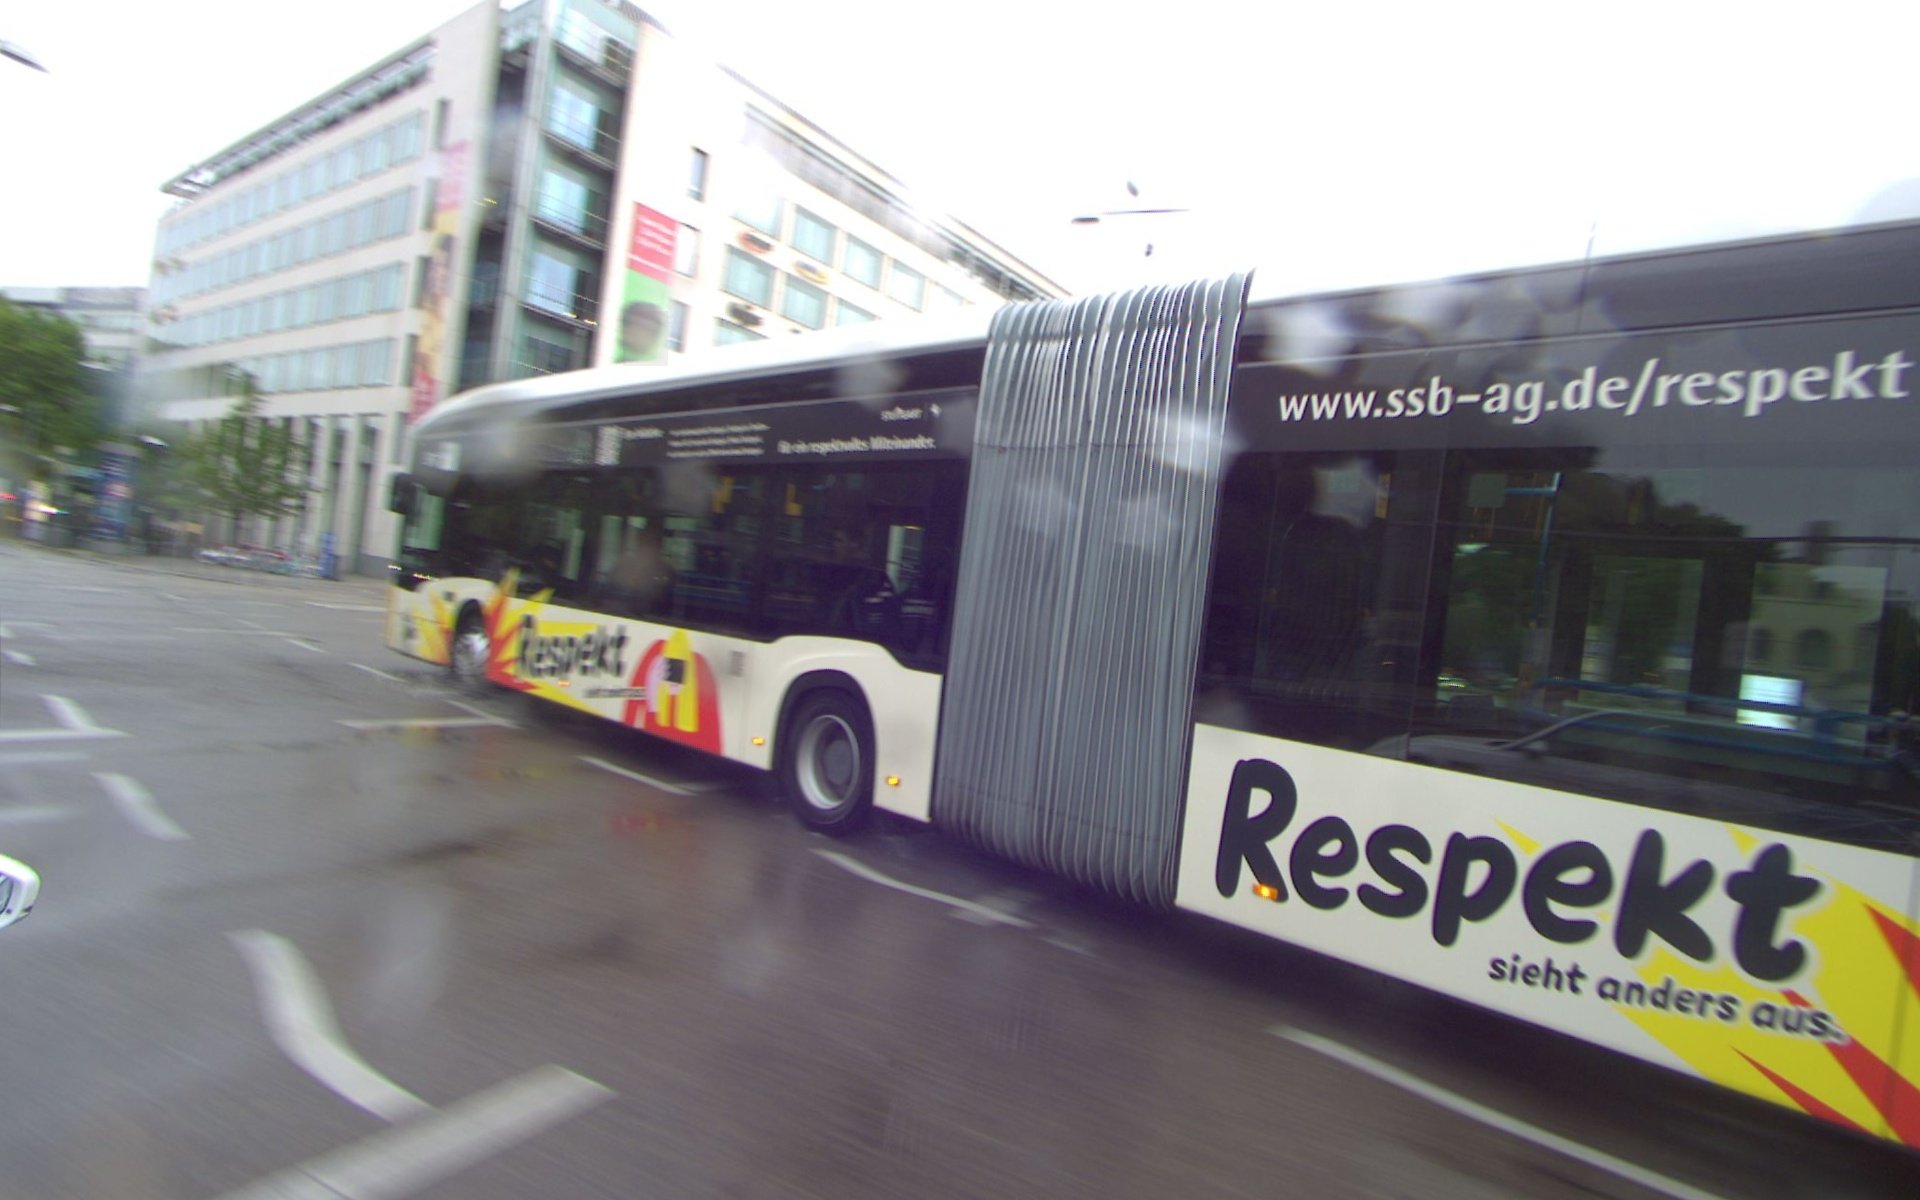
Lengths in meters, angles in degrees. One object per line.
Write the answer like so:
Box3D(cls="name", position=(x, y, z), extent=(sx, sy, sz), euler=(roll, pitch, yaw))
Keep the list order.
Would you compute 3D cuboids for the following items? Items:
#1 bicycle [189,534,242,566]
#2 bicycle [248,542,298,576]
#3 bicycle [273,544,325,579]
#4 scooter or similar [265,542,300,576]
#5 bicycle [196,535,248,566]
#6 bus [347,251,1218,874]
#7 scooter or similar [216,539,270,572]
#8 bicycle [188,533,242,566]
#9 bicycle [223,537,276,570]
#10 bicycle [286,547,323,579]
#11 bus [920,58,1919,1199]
Box3D(cls="bicycle", position=(-33.921, -2.293, 45.852), extent=(0.579, 1.208, 1.774), euler=(6, -2, 43))
Box3D(cls="bicycle", position=(-28.444, -1.694, 41.650), extent=(1.749, 1.208, 0.587), euler=(6, -1, 13))
Box3D(cls="bicycle", position=(-26.955, -1.579, 41.035), extent=(1.606, 1.208, 0.583), euler=(7, -1, -23))
Box3D(cls="scooter or similar", position=(-26.942, -1.625, 40.014), extent=(0.947, 1.208, 0.455), euler=(6, -1, -9))
Box3D(cls="bicycle", position=(-34.314, -2.309, 46.781), extent=(0.579, 1.208, 1.774), euler=(6, -2, 43))
Box3D(cls="bus", position=(-2.696, -0.457, 9.923), extent=(9.623, 3.492, 2.879), euler=(6, -1, 42))
Box3D(cls="scooter or similar", position=(-31.809, -1.972, 44.661), extent=(0.579, 1.208, 1.774), euler=(6, -2, 43))
Box3D(cls="bicycle", position=(-33.554, -2.267, 45.322), extent=(0.579, 1.208, 1.774), euler=(6, -2, 43))
Box3D(cls="bicycle", position=(-32.023, -2.090, 45.340), extent=(0.579, 1.208, 1.774), euler=(6, -2, 43))
Box3D(cls="bicycle", position=(-28.011, -1.574, 43.002), extent=(0.577, 1.208, 1.781), euler=(6, -1, -10))
Box3D(cls="bus", position=(4.425, 0.350, 3.310), extent=(9.579, 3.481, 2.878), euler=(6, -1, 43))
